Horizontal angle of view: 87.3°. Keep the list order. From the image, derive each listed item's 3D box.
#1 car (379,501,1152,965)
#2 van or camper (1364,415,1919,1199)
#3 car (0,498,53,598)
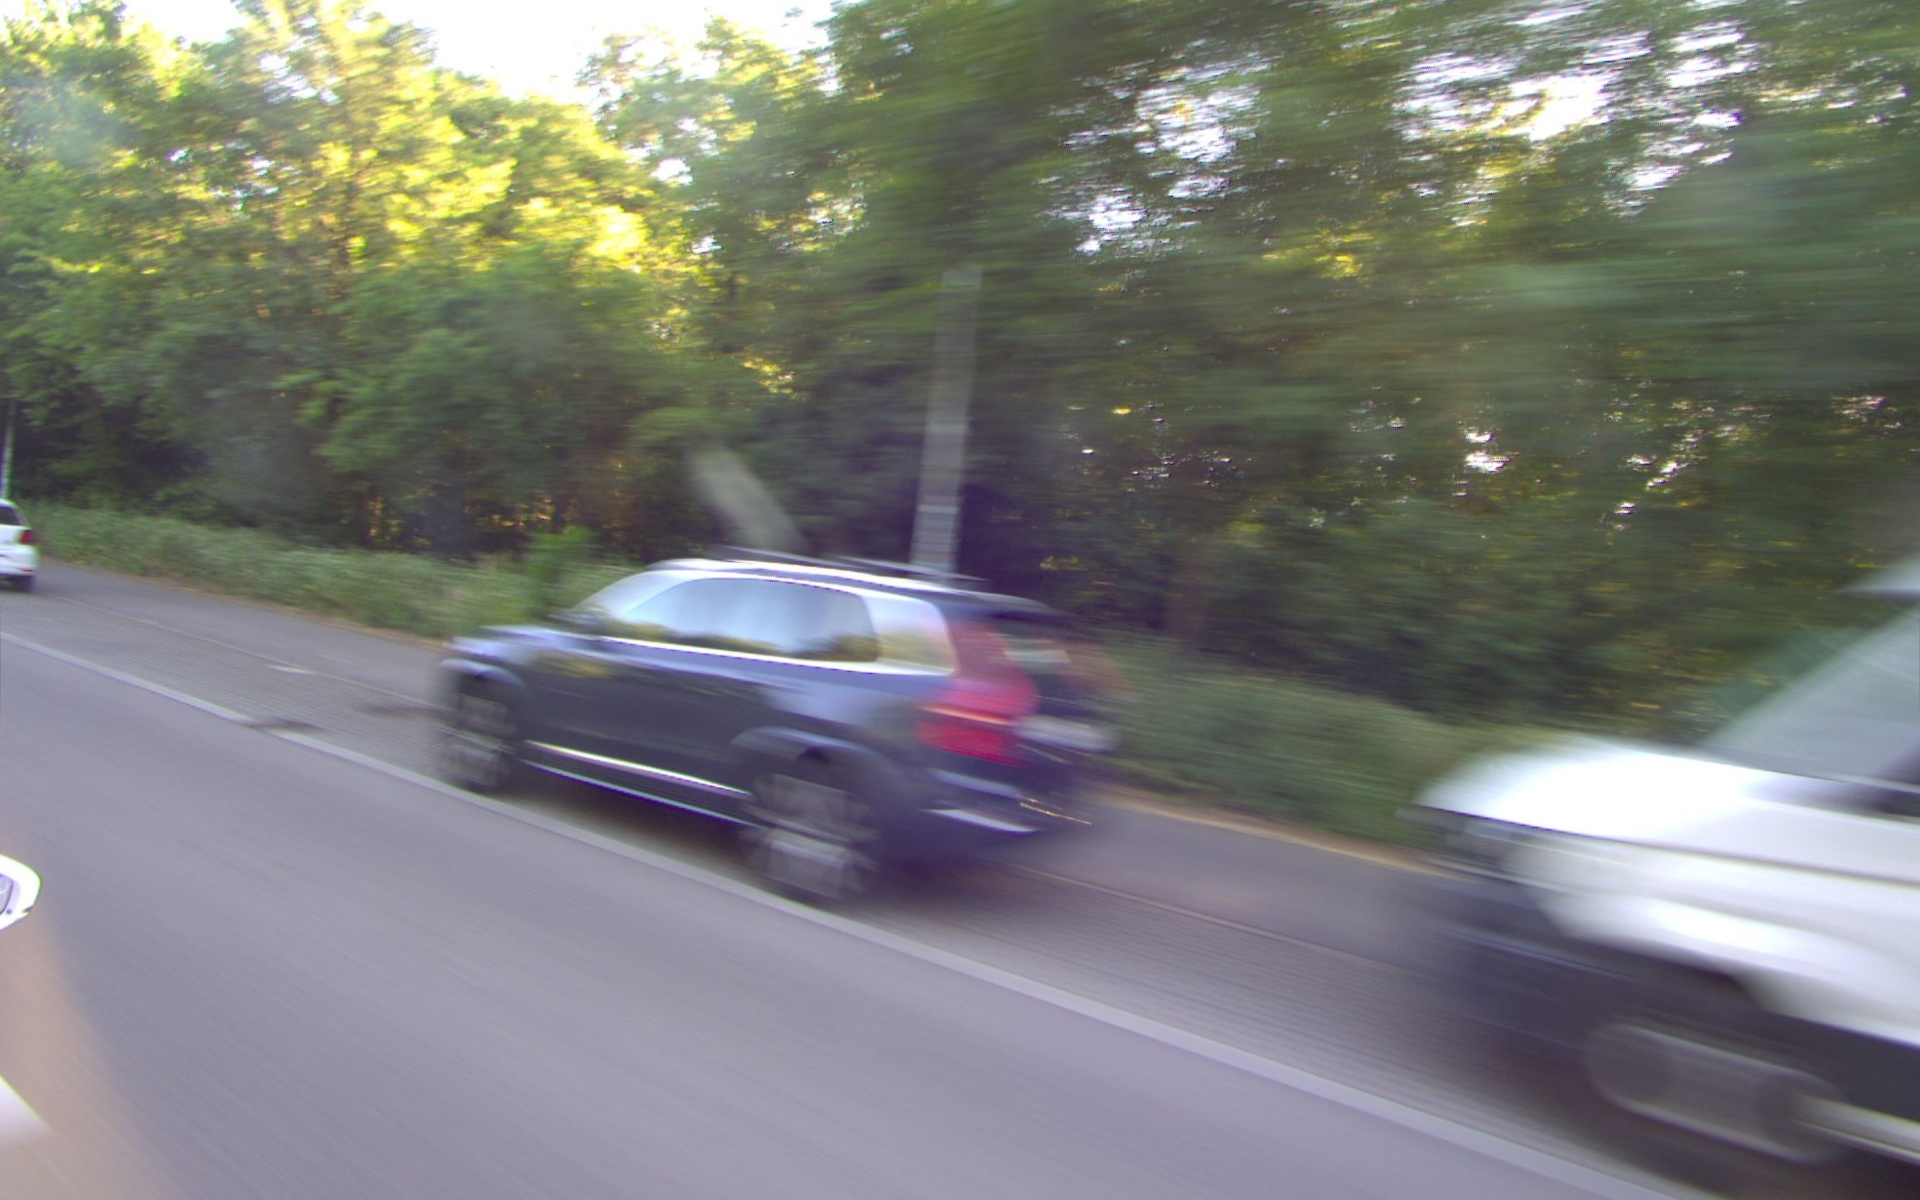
[{"bbox_3d":[-1.506,0.552,6.713,4.990,1.891,1.832,7,0,32],"label":"car"},{"bbox_3d":[4.721,0.957,3.223,5.879,2.548,2.122,7,0,31],"label":"van or camper"},{"bbox_3d":[-16.444,-1.011,16.180,4.034,1.459,1.729,7,0,34],"label":"car"}]
